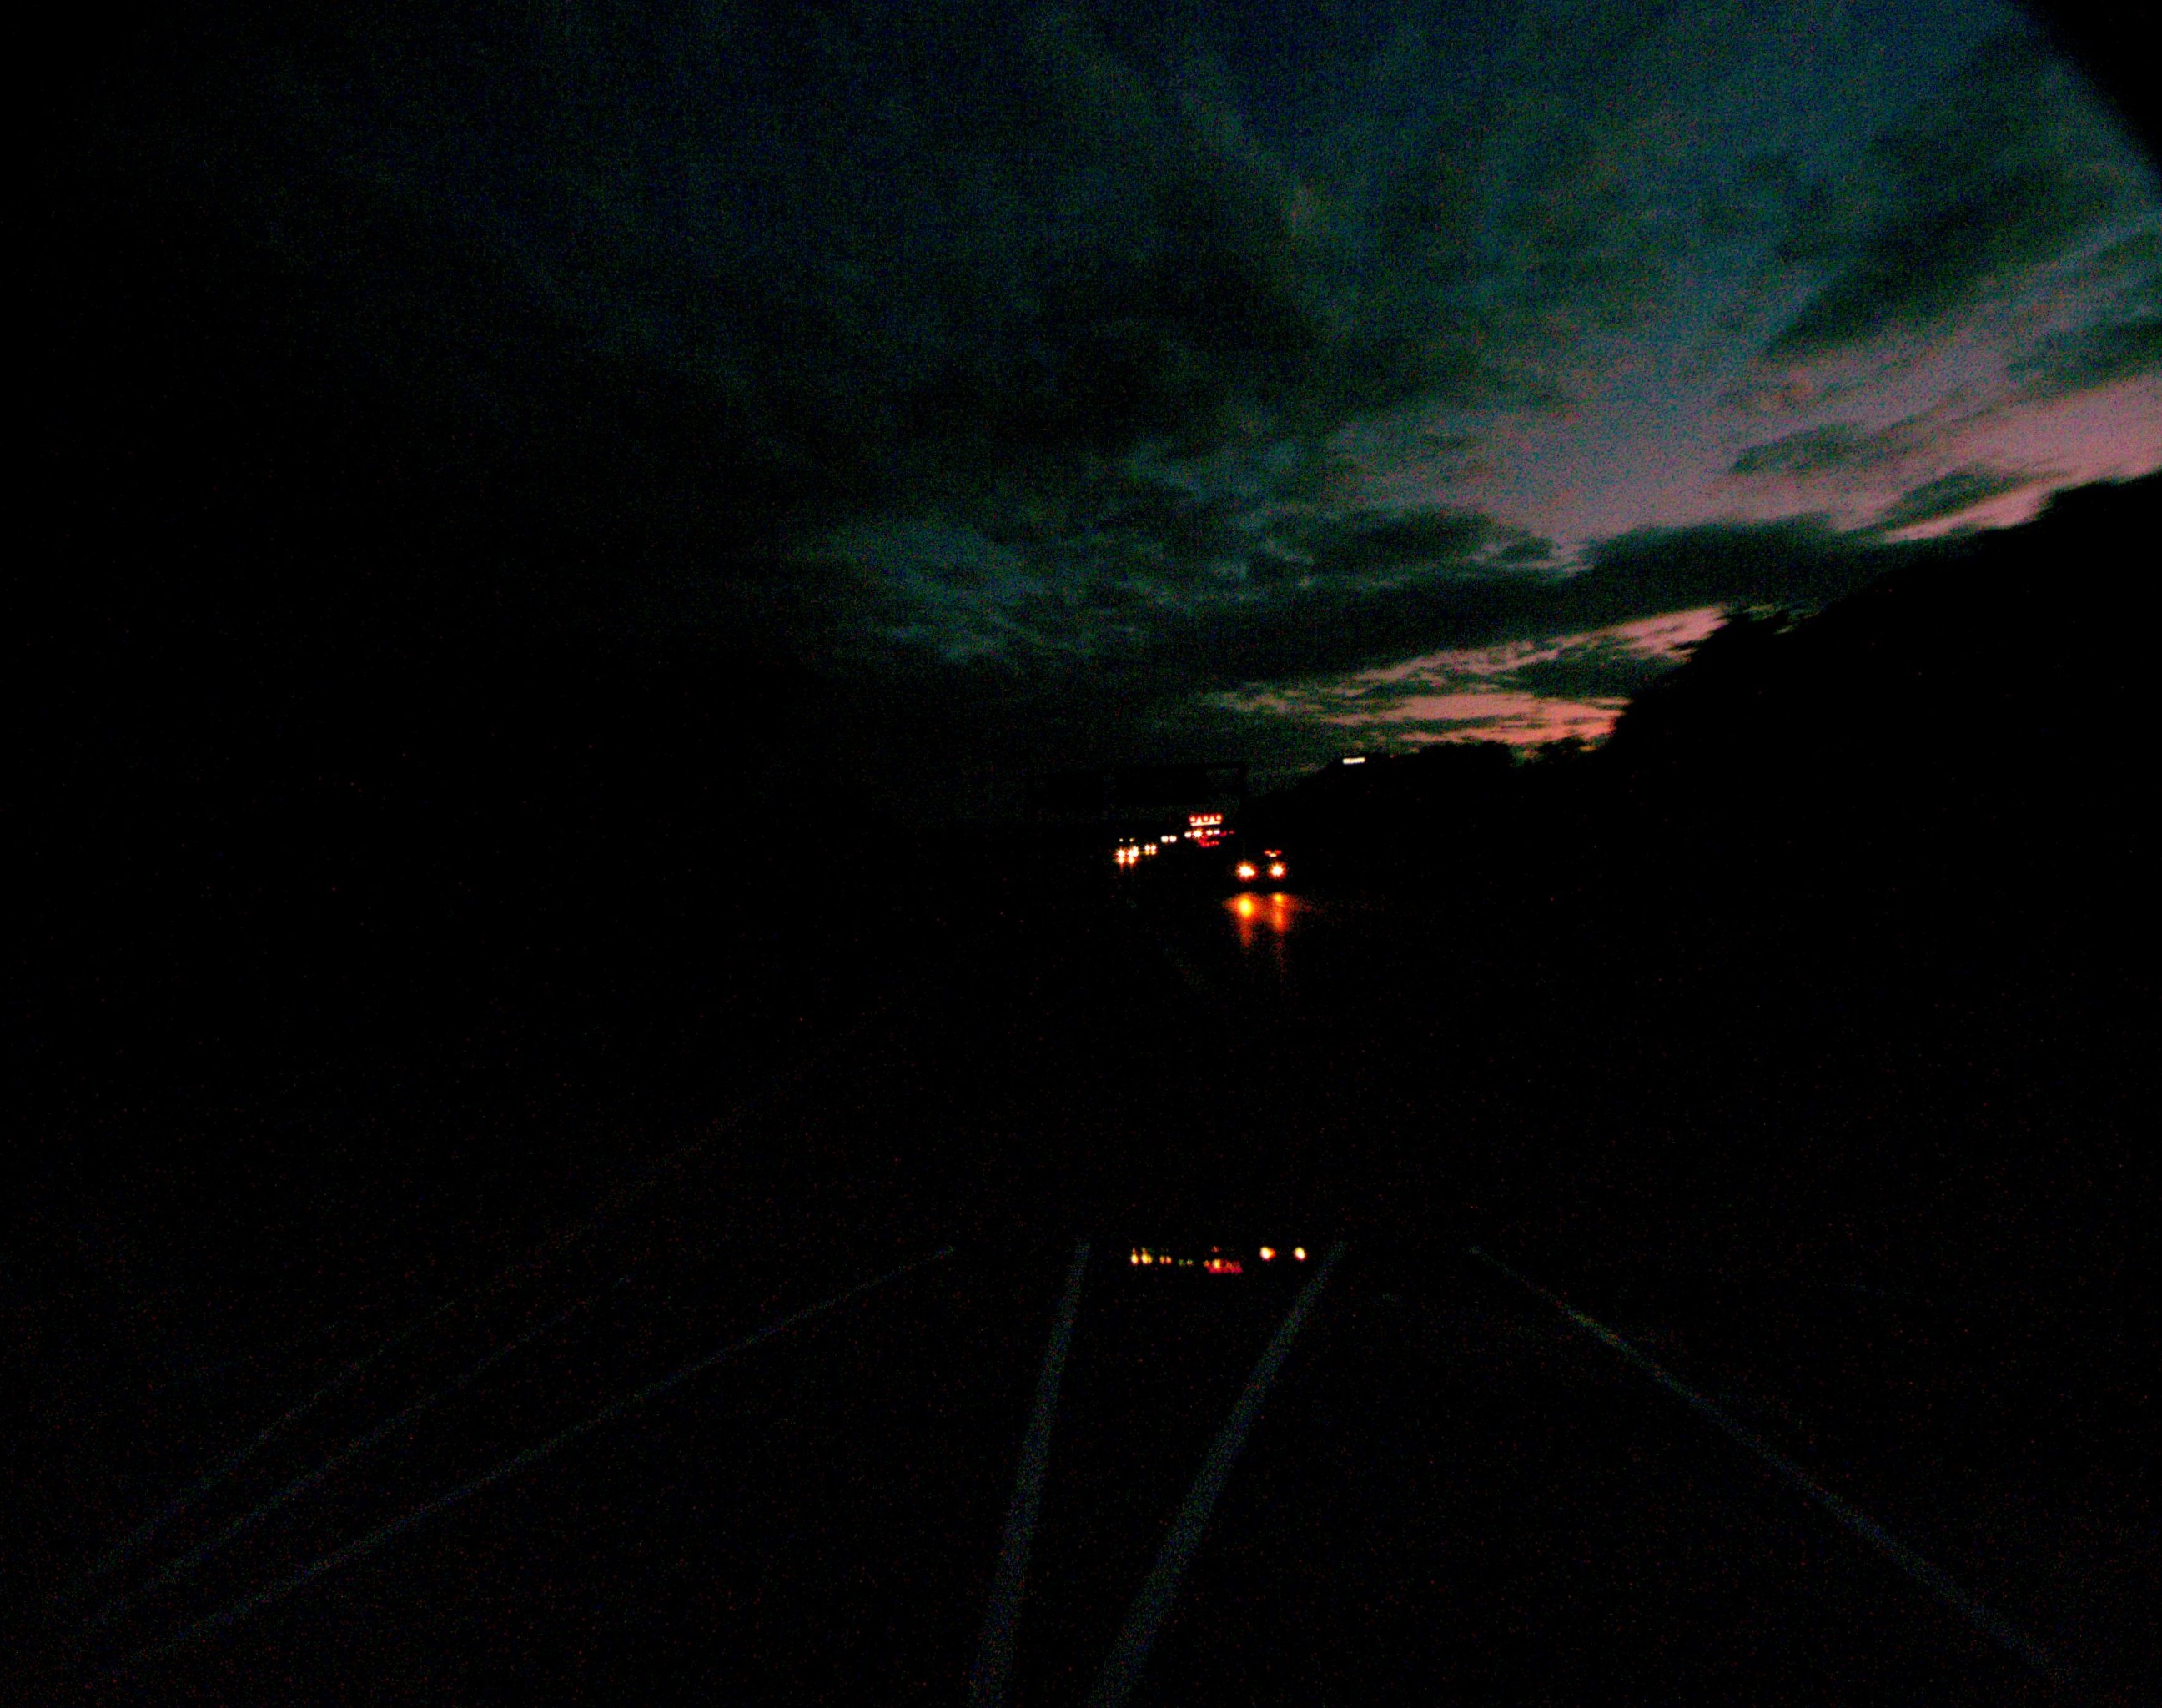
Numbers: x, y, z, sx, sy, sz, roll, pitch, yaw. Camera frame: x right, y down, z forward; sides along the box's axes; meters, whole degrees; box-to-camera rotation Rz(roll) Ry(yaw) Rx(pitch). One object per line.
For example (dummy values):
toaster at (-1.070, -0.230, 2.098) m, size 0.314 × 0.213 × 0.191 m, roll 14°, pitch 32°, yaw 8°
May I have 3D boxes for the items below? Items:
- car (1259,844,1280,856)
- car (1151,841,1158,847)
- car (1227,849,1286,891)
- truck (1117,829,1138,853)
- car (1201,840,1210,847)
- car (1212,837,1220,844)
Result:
car at (25.788, -0.552, 103.925) m, size 1.998 × 1.411 × 4.151 m, roll -2°, pitch 1°, yaw 2°
car at (19.689, -2.687, 203.553) m, size 1.653 × 1.655 × 3.774 m, roll -2°, pitch 2°, yaw 2°
car at (7.247, 0.615, 31.765) m, size 1.717 × 1.471 × 3.999 m, roll -2°, pitch 2°, yaw 3°
truck at (9.061, -2.610, 147.388) m, size 3.025 × 4.373 × 11.617 m, roll -2°, pitch 2°, yaw 8°
car at (36.623, -3.199, 223.980) m, size 1.998 × 1.883 × 4.678 m, roll -2°, pitch 2°, yaw 2°
car at (44.134, -4.441, 248.532) m, size 1.998 × 1.883 × 5.057 m, roll -2°, pitch 2°, yaw 4°
